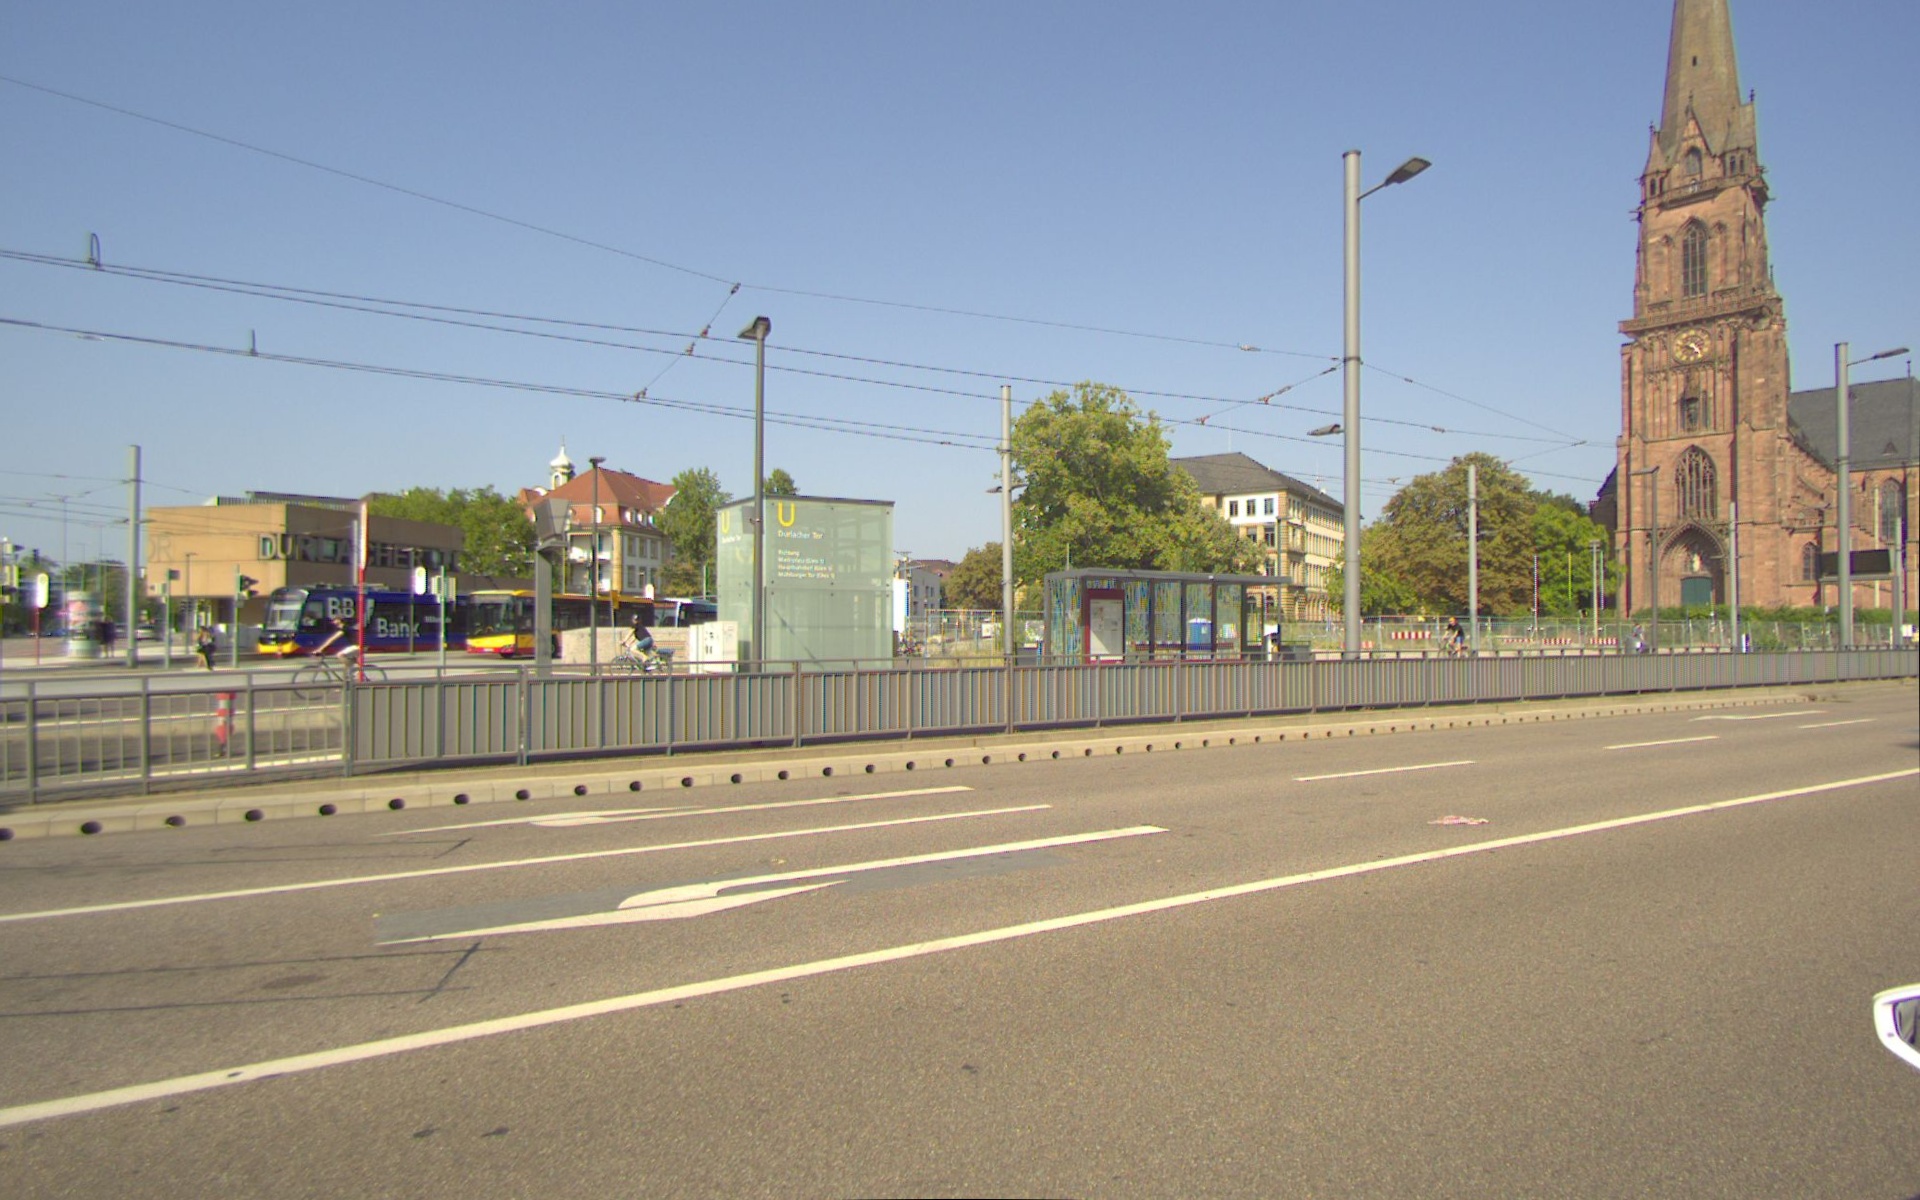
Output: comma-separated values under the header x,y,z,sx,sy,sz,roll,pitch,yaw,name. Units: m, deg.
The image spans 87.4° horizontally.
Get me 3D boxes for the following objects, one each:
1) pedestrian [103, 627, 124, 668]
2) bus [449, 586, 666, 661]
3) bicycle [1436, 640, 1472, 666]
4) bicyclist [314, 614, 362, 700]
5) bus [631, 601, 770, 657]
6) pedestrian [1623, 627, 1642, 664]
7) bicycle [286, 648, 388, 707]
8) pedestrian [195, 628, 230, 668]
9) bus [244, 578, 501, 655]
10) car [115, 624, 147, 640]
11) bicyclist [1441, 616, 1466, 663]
x,y,z,sx,sy,sz,roll,pitch,yaw,name
-36.989,2.058,43.875,0.395,1.792,0.559,0,-1,16,pedestrian
-19.318,1.216,49.912,3.159,3.220,13.326,0,-2,12,bus
18.844,2.014,38.284,1.675,0.966,0.348,1,-2,-30,bicycle
-12.506,1.132,20.209,0.781,1.678,0.584,1,-1,-30,bicyclist
-16.190,1.875,64.454,3.159,3.220,13.326,0,-2,11,bus
31.102,2.097,46.463,0.657,1.723,0.514,1,-1,-31,pedestrian
-12.506,1.533,20.202,1.727,1.124,0.399,1,-2,-32,bicycle
-24.690,1.579,33.165,0.752,1.309,0.558,0,-1,13,pedestrian
-29.688,0.927,52.086,3.160,3.464,13.325,0,-2,13,bus
-81.303,3.123,98.539,1.473,1.470,3.503,1,-2,-24,car
18.738,1.497,38.127,0.809,1.770,0.484,1,-1,-30,bicyclist
